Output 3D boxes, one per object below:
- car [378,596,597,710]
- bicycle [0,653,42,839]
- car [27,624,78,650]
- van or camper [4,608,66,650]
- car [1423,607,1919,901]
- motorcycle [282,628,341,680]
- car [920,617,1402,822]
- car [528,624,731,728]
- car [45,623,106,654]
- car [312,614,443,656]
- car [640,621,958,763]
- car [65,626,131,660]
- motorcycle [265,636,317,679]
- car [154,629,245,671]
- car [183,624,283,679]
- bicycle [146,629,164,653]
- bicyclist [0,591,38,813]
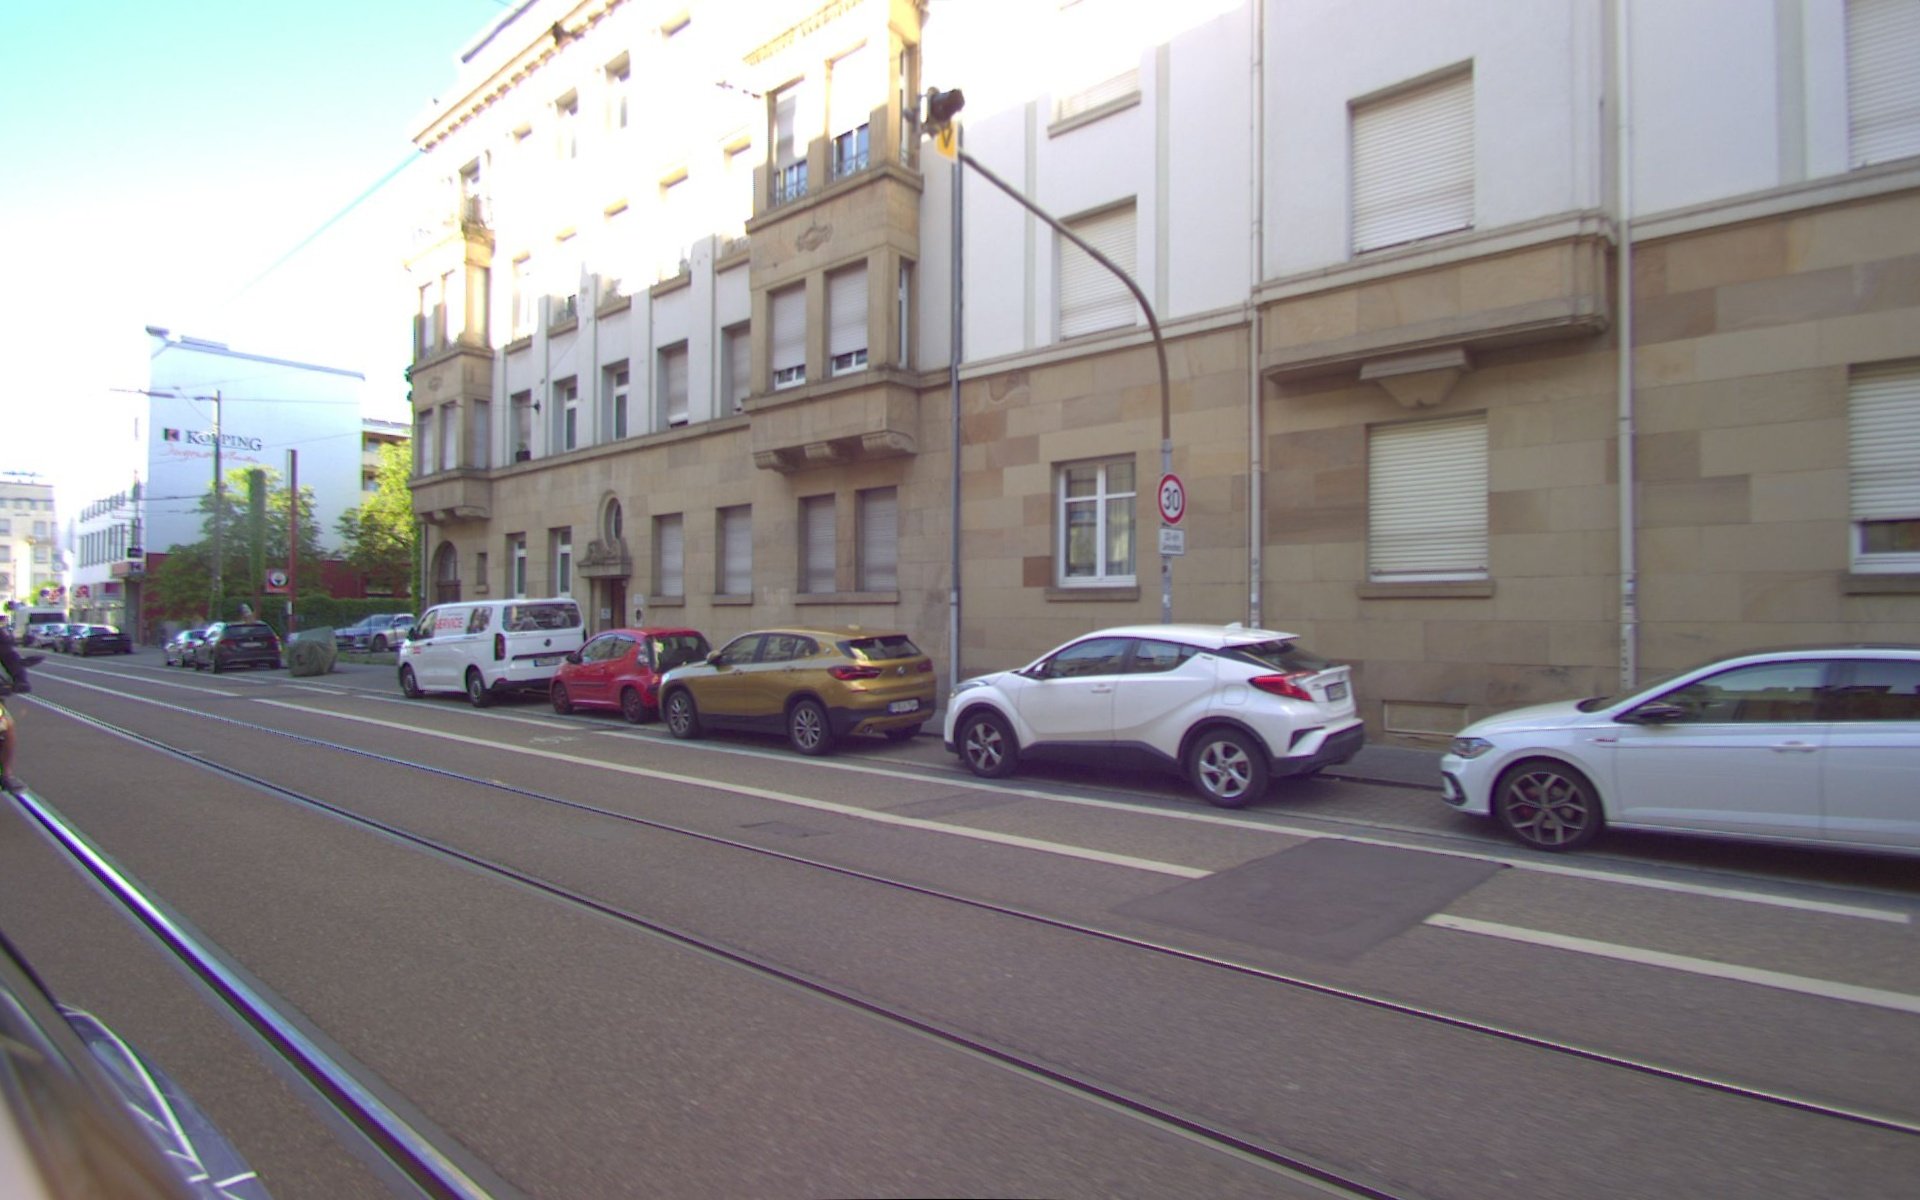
[{"bbox_3d":[-9.519,0.966,20.177,5.248,1.963,1.953,-1,0,41],"label":"car"},{"bbox_3d":[-7.198,1.009,7.272,1.753,1.208,0.757,-1,-2,44],"label":"bicycle"},{"bbox_3d":[-52.370,2.112,58.372,4.445,1.409,1.764,-1,0,43],"label":"car"},{"bbox_3d":[-57.665,1.779,63.062,6.228,2.486,2.149,-1,0,41],"label":"van or camper"},{"bbox_3d":[5.578,0.888,6.790,4.175,1.634,1.765,-1,0,40],"label":"car"},{"bbox_3d":[-18.070,1.491,28.256,0.871,1.361,1.963,0,-1,-16],"label":"motorcycle"},{"bbox_3d":[1.819,0.981,10.020,4.362,1.558,1.754,-1,0,40],"label":"car"},{"bbox_3d":[-5.567,1.171,16.854,3.645,1.484,1.586,-1,0,42],"label":"car"},{"bbox_3d":[-45.710,1.964,52.264,4.697,1.492,1.765,-1,0,41],"label":"car"},{"bbox_3d":[-22.748,1.323,39.764,1.977,1.529,4.785,0,-1,8],"label":"car"},{"bbox_3d":[-2.259,1.078,13.446,4.357,1.535,1.765,-1,0,41],"label":"car"},{"bbox_3d":[-41.181,2.018,48.308,4.840,1.456,1.764,-1,0,42],"label":"car"},{"bbox_3d":[-19.506,1.654,29.561,0.729,1.180,2.187,0,-1,-19],"label":"motorcycle"},{"bbox_3d":[-27.070,1.726,35.977,4.219,1.324,1.764,-1,0,42],"label":"car"},{"bbox_3d":[-23.306,1.582,32.386,4.611,1.577,1.763,-1,0,44],"label":"car"},{"bbox_3d":[-42.213,2.138,53.073,2.050,1.183,0.435,-1,-1,43],"label":"bicycle"},{"bbox_3d":[-7.202,0.718,7.280,0.939,1.552,0.764,-1,-2,44],"label":"bicyclist"}]
